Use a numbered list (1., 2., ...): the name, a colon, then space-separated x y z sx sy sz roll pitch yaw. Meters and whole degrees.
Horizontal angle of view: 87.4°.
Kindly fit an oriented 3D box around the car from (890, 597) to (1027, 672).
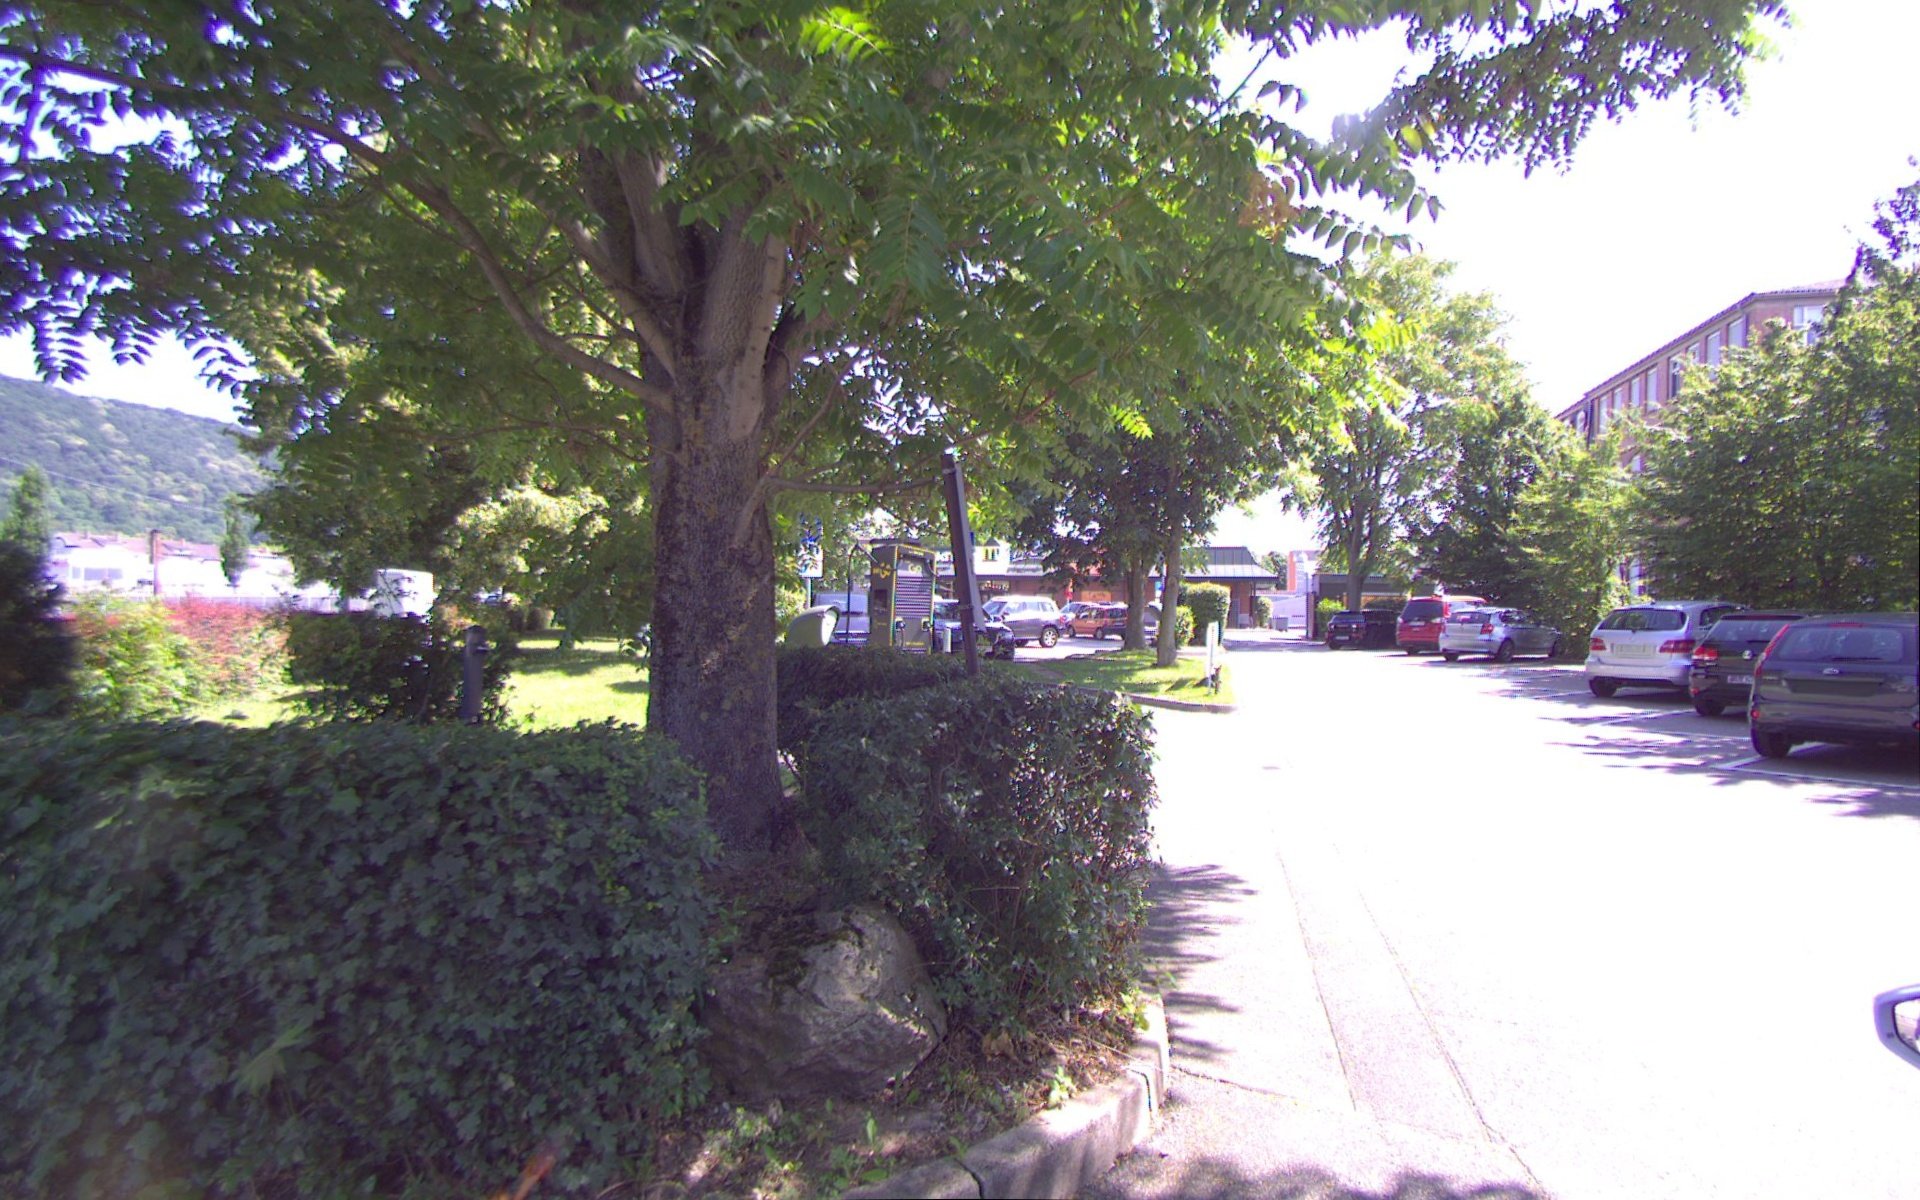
1. car: -0.157 0.710 22.651 1.833 1.472 4.351 3 0 -17

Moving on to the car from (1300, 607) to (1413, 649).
1. car: 14.093 0.985 35.654 3.955 1.407 1.759 1 -1 -32

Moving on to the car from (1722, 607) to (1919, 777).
1. car: 9.943 0.822 10.420 3.947 1.472 1.693 -1 0 -27

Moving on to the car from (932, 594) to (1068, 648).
1. car: 1.390 0.688 34.035 4.320 1.708 1.845 1 0 -33

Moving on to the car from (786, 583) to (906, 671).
1. car: -2.652 0.553 22.369 1.833 1.708 4.351 3 0 -17

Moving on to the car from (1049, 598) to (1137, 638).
1. car: 6.155 0.796 46.932 1.839 1.708 4.334 -2 1 -29

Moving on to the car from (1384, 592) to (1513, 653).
1. car: 15.130 0.686 31.075 3.956 1.757 1.759 0 -2 -33

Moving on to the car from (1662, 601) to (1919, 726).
1. car: 11.958 0.794 14.039 3.945 1.489 1.764 -1 0 -25

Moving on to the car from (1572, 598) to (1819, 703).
1. car: 12.478 0.772 17.018 3.947 1.593 1.763 0 0 -26

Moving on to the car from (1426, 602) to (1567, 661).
1. car: 14.745 0.830 27.555 3.958 1.495 1.758 0 -1 -34

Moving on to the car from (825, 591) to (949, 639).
1. car: -2.717 0.568 37.647 4.264 1.708 1.846 1 0 -32
